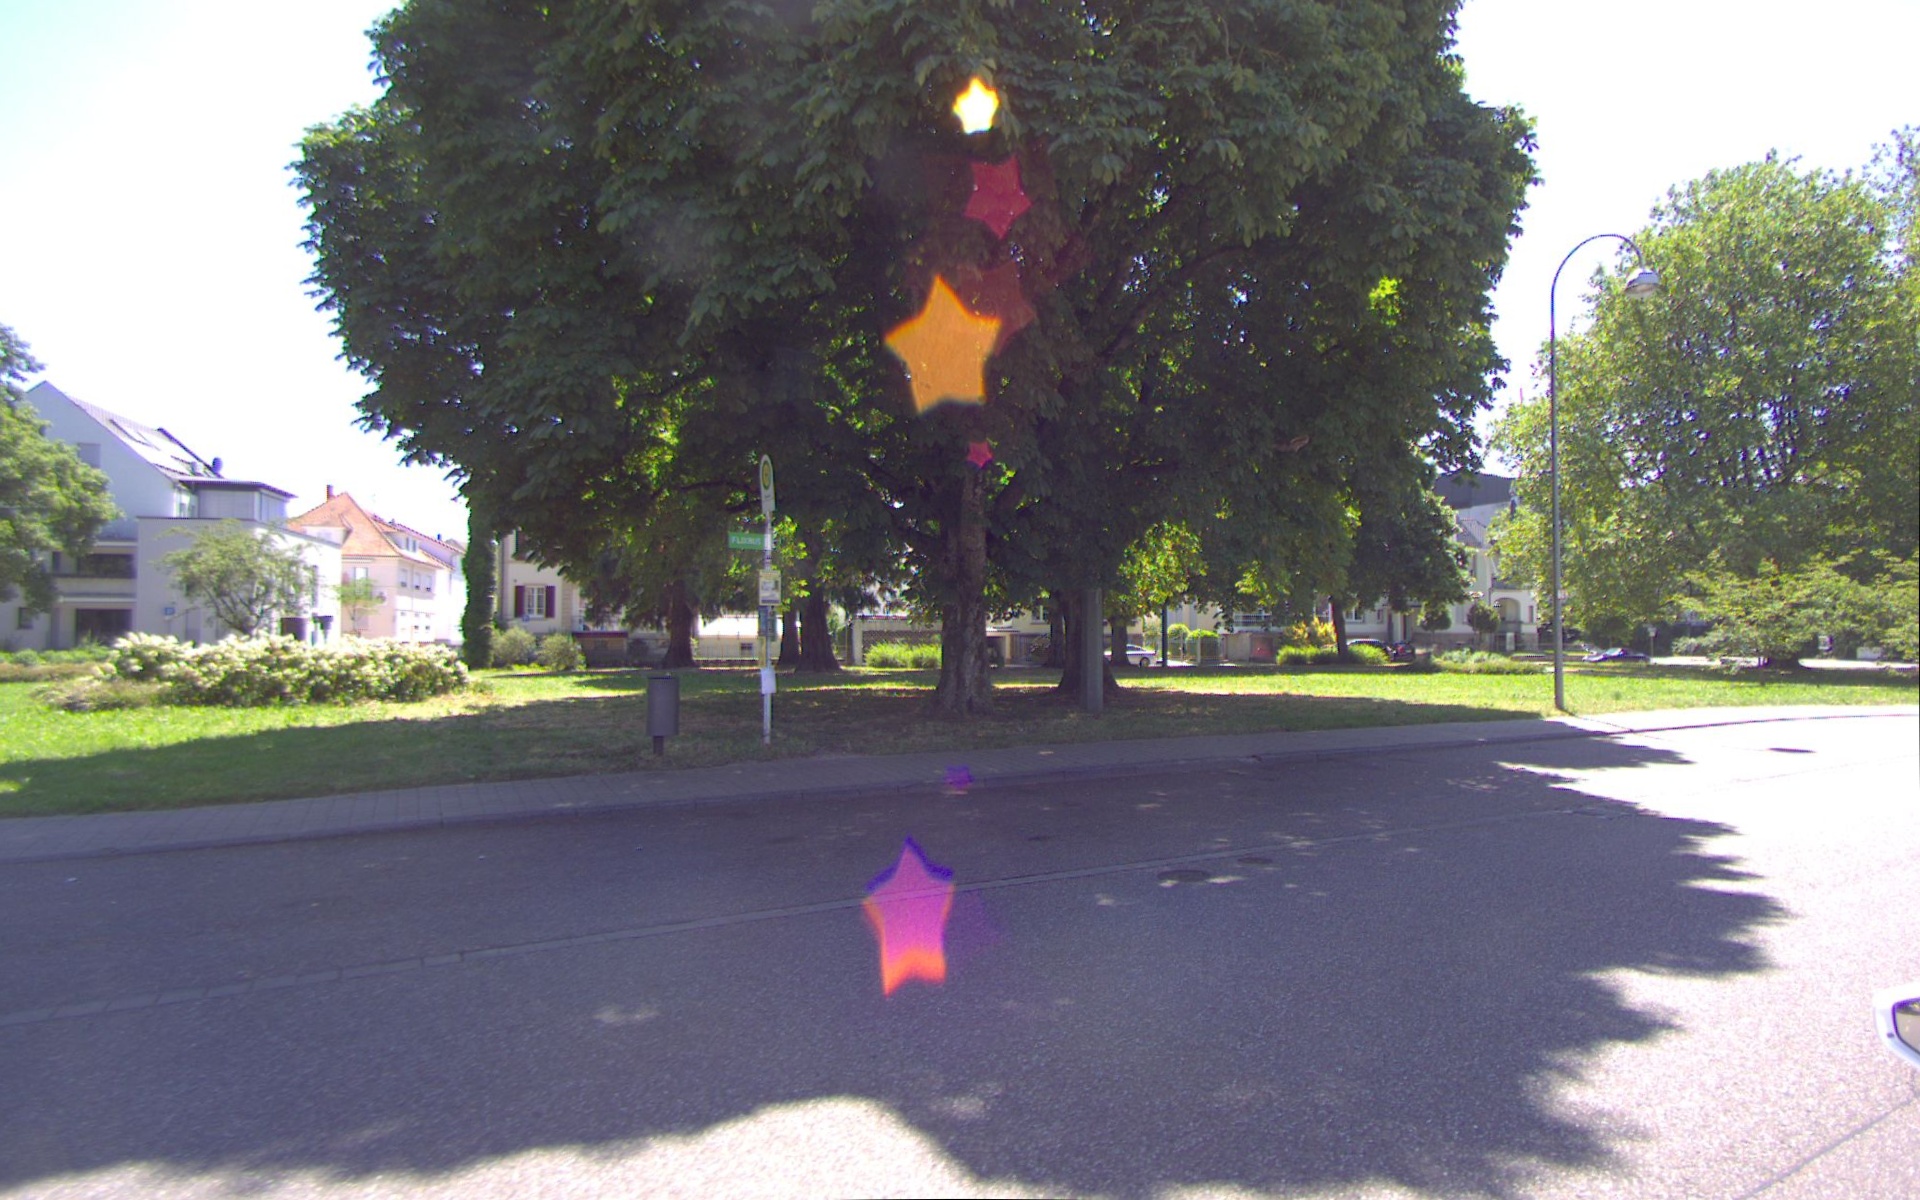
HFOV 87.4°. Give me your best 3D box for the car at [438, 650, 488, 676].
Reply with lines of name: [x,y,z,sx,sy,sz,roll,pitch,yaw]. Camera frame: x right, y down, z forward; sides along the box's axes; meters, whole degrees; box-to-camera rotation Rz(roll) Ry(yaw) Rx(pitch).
car: [-28.222,3.555,57.124,1.610,1.367,4.037,1,-2,-13]

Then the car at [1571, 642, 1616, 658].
car: [54.329,4.283,86.170,1.609,1.328,4.201,0,-2,7]

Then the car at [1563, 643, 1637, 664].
car: [42.388,3.533,66.517,3.916,1.328,1.820,0,-2,-9]

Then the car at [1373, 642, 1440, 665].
car: [28.063,3.355,63.178,3.739,1.429,1.551,1,-2,-15]

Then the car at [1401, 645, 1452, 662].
car: [35.080,3.992,75.544,1.454,1.200,3.559,1,-2,-18]

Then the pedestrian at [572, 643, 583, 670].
pedestrian: [-21.513,3.200,56.489,0.476,1.510,0.389,1,-2,-13]

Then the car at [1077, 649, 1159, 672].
car: [9.964,3.789,63.450,4.801,1.367,1.989,1,-2,-12]

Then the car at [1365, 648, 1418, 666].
car: [32.475,4.261,75.662,1.686,1.268,3.723,1,-2,-16]
